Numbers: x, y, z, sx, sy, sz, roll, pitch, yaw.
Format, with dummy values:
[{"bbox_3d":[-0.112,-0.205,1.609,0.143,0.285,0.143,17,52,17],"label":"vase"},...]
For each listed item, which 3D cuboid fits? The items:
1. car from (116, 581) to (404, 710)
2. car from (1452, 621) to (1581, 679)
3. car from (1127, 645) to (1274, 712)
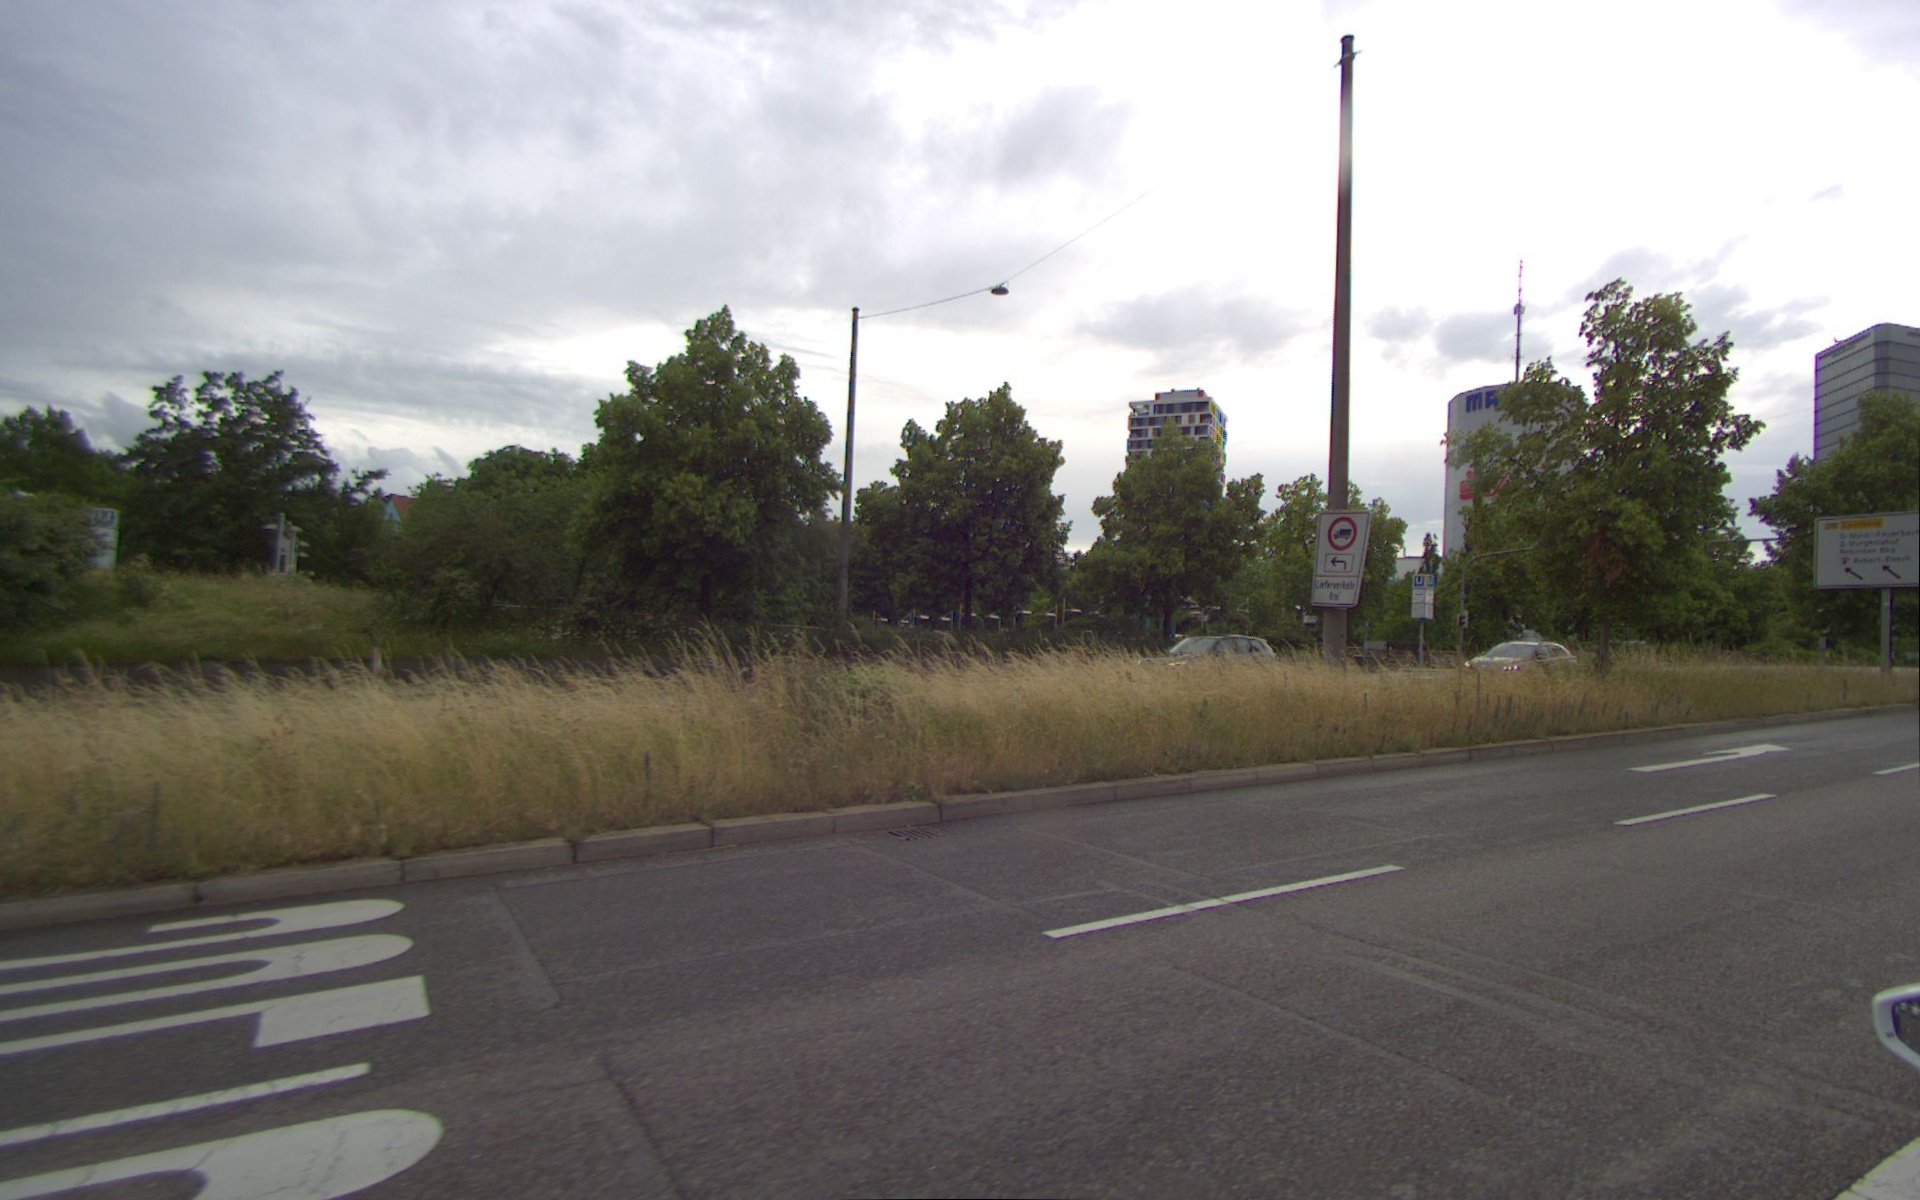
[{"bbox_3d":[-12.277,0.825,17.882,3.960,2.040,1.981,2,-4,-35],"label":"car"},{"bbox_3d":[17.170,1.491,30.939,3.979,1.661,1.980,1,-1,-35],"label":"car"},{"bbox_3d":[6.681,2.116,27.785,3.960,1.641,1.849,1,-1,-35],"label":"car"}]
